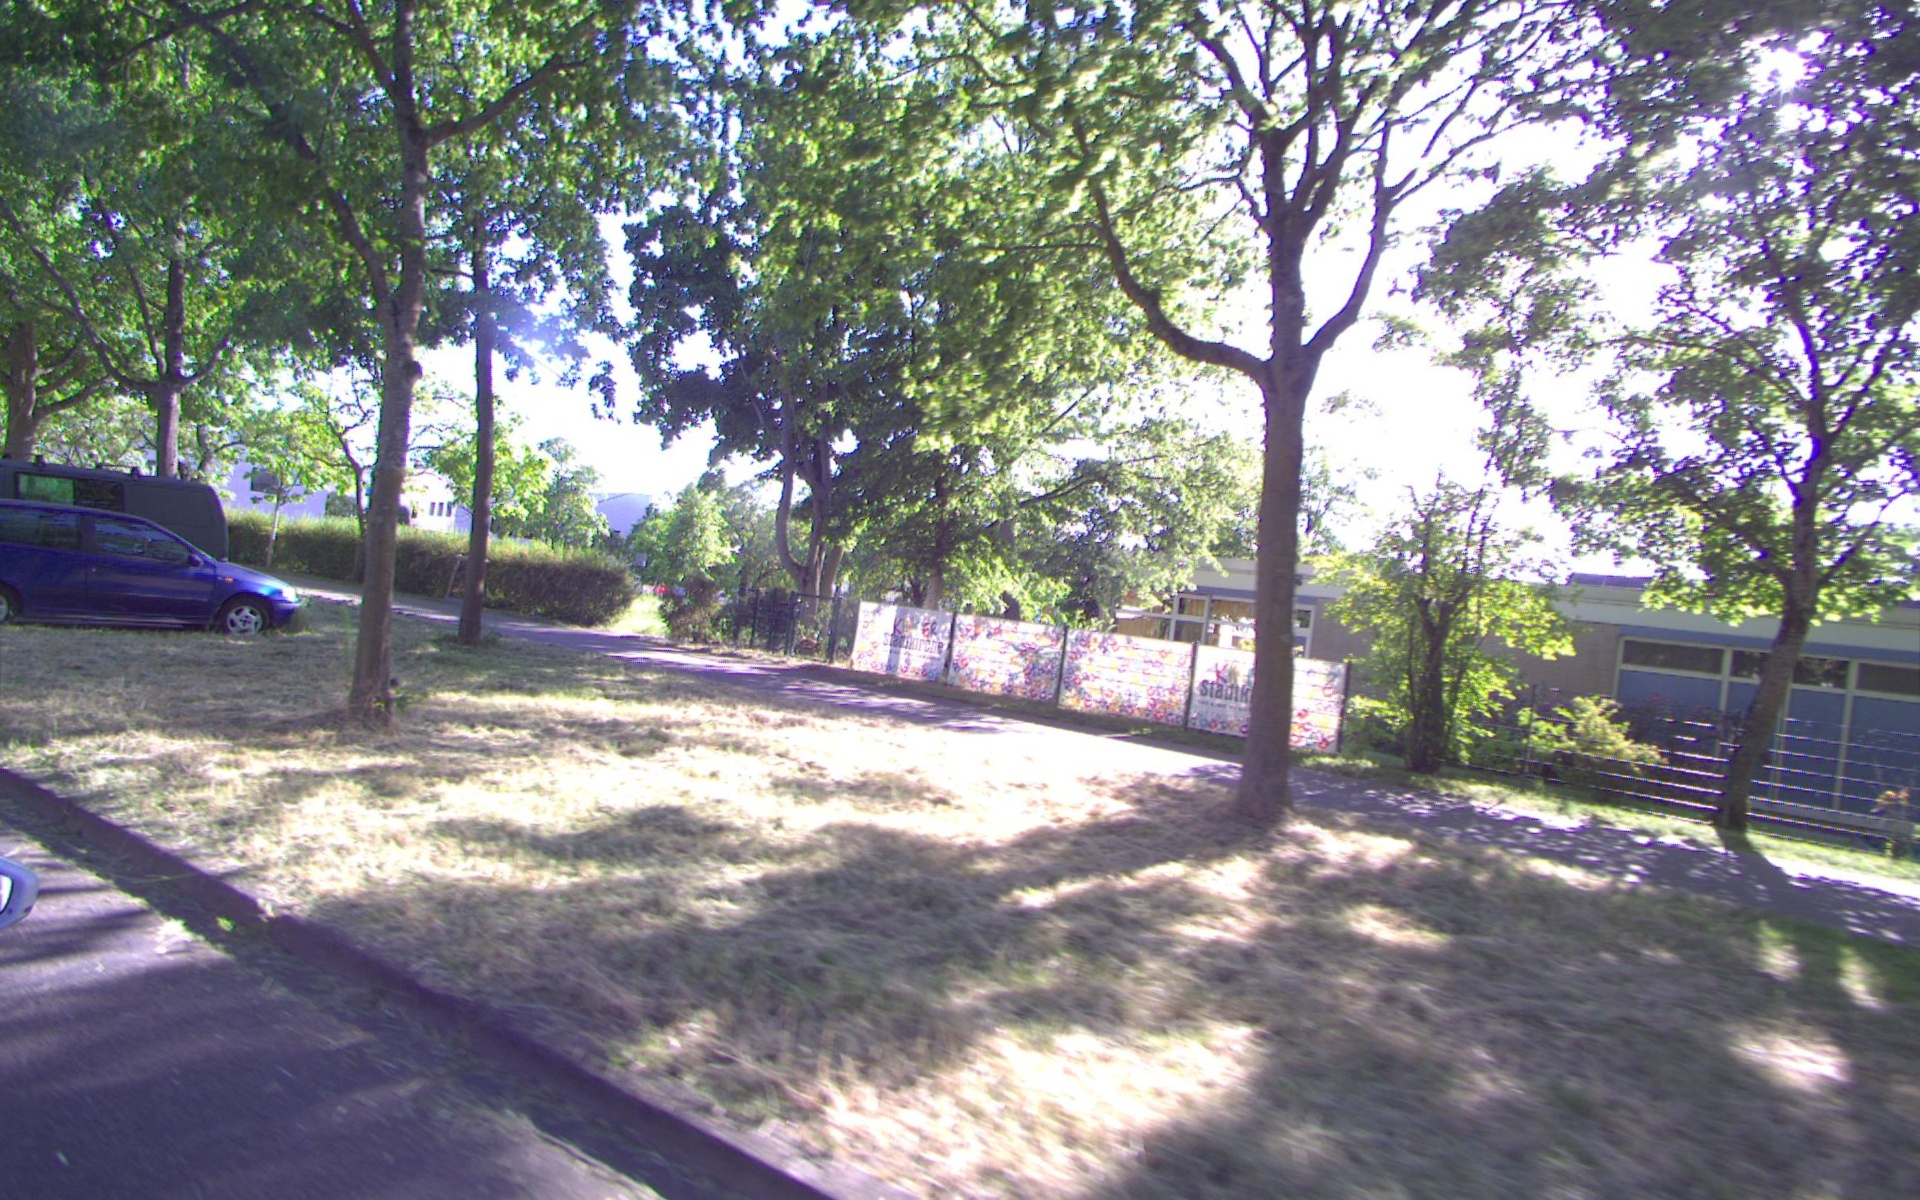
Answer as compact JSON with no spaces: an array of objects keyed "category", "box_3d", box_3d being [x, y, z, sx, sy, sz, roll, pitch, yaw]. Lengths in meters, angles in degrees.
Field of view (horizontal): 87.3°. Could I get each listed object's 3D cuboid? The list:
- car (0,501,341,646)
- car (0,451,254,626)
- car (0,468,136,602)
[{"category":"car","box_3d":[-10.124,-0.310,12.242,1.711,1.420,3.992,7,0,33]},{"category":"car","box_3d":[-12.659,-0.895,13.441,1.912,2.057,4.807,7,0,33]},{"category":"car","box_3d":[-14.852,-1.086,14.610,1.769,1.860,4.013,7,0,31]}]
